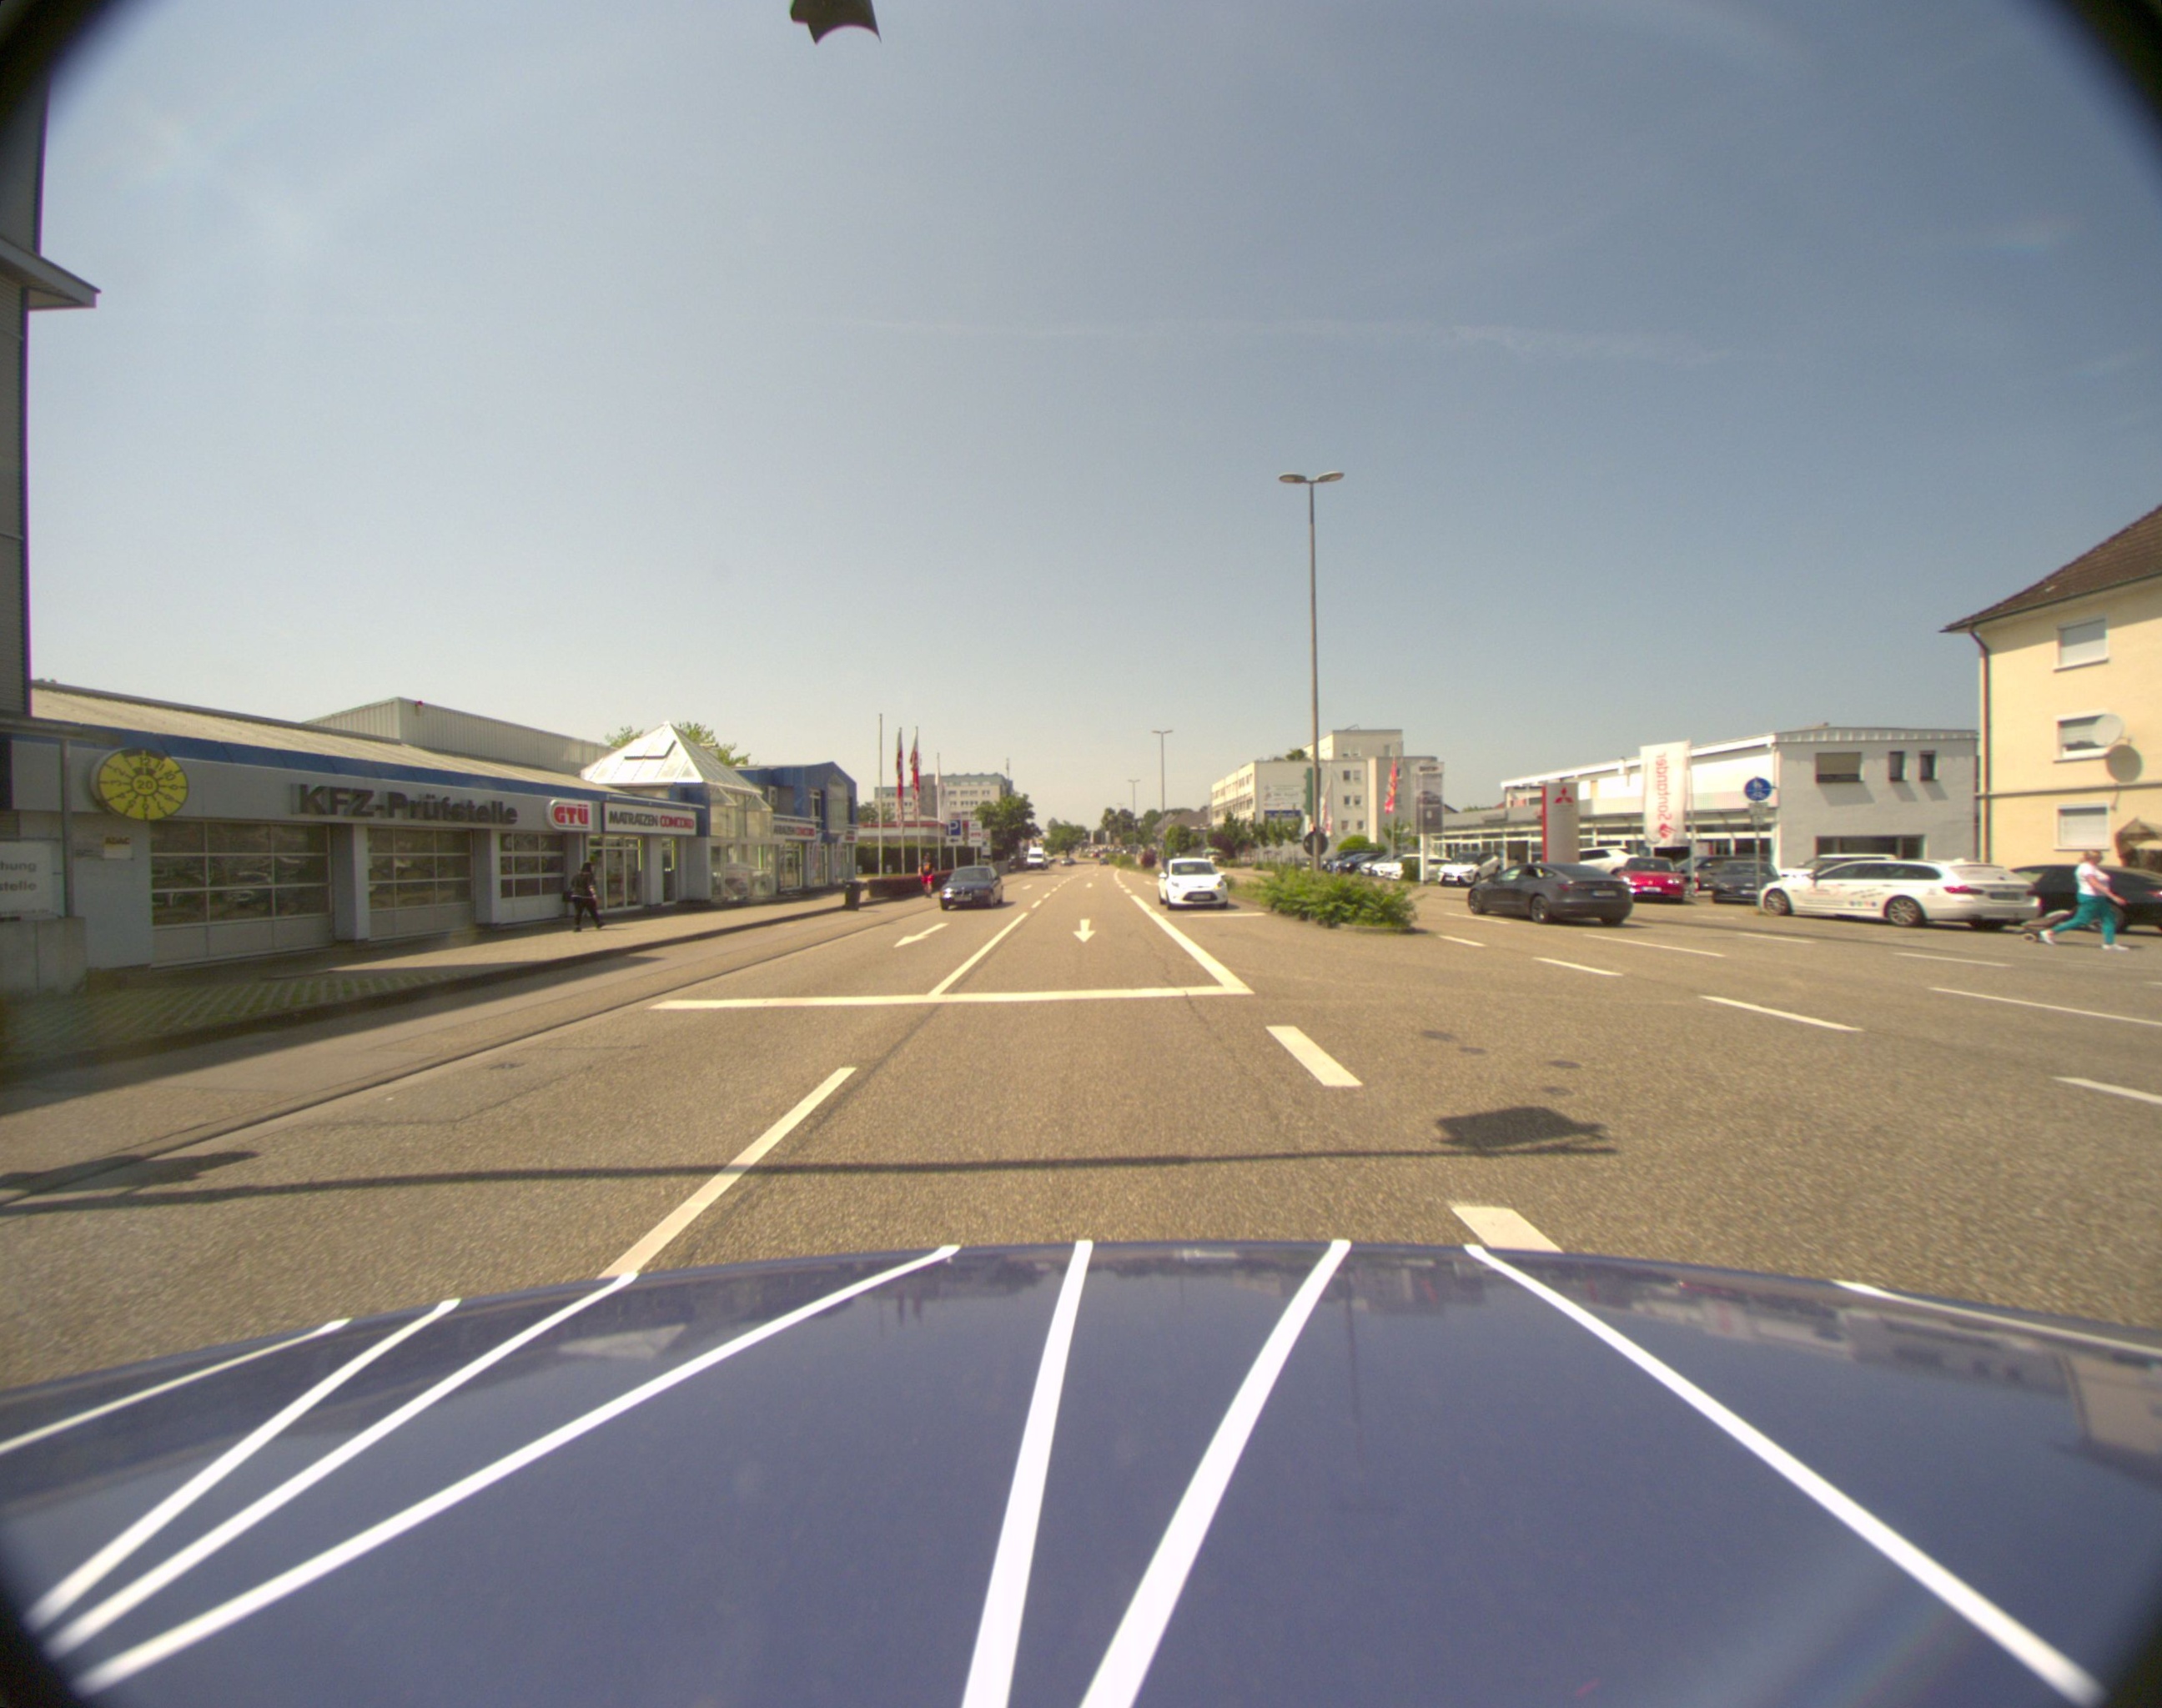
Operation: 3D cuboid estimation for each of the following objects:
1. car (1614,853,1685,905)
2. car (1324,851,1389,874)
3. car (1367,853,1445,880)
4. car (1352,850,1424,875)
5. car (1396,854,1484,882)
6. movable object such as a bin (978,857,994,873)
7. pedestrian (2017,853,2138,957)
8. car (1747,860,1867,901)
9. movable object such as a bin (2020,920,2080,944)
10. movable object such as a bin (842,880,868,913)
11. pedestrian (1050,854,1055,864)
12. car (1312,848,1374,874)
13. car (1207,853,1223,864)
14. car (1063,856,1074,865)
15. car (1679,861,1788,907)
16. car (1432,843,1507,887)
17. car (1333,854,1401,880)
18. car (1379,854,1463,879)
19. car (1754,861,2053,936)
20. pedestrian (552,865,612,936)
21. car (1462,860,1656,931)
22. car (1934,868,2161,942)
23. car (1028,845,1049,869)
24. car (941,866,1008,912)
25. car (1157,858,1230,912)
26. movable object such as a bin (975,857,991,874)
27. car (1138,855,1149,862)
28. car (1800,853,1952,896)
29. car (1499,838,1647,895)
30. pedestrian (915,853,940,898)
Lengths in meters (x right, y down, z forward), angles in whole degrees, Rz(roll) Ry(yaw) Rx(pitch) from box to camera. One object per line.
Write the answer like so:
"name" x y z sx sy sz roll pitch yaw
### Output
"car" 19.482 0.791 26.162 1.835 1.633 4.187 0 0 35
"car" 20.032 0.601 55.382 3.997 1.599 2.089 0 0 -1
"car" 19.898 0.747 46.622 3.996 1.599 1.926 -1 0 3
"car" 19.963 0.534 49.499 3.997 1.559 1.760 0 0 -1
"car" 19.625 0.747 41.633 3.997 1.458 1.760 -1 0 -1
"movable object such as a bin" -8.483 0.962 67.794 1.133 1.461 1.489 0 0 1
"pedestrian" 17.233 0.853 13.167 0.742 1.737 1.034 -1 1 3
"car" 25.009 0.870 26.345 1.647 1.244 4.006 0 0 22
"movable object such as a bin" 17.224 1.387 13.509 0.417 0.370 0.506 -1 0 2
"movable object such as a bin" -6.762 1.261 22.756 0.552 0.914 0.653 2 1 1
"pedestrian" -4.375 0.769 115.622 0.704 1.572 0.820 2 0 -2
"car" 20.008 0.528 58.135 3.997 1.871 2.000 -1 0 -1
"car" 19.287 0.640 109.484 1.695 1.440 3.665 -2 0 0
"car" -2.325 1.210 138.903 1.867 1.550 4.000 0 0 0
"car" 22.311 0.968 26.148 1.647 1.418 4.006 0 0 22
"car" 19.780 0.503 38.598 4.004 1.616 1.755 -10 6 -37
"car" 19.725 0.853 52.513 3.997 1.599 1.760 2 0 -1
"car" 19.538 0.711 43.714 3.997 1.386 1.860 -1 0 -1
"car" 18.375 0.892 17.415 1.780 1.402 4.759 1 0 2
"pedestrian" -11.784 1.074 17.963 0.812 1.617 0.853 -1 0 4
"car" 11.460 0.928 18.691 1.998 1.477 4.501 0 0 1
"car" 21.593 1.016 16.446 1.737 1.343 3.999 0 0 -2
"car" -5.249 0.339 95.031 2.183 2.757 7.277 1 0 0
"car" -3.510 1.118 25.568 1.632 1.331 3.757 -2 0 1
"car" 3.258 0.854 22.628 1.693 1.426 3.711 -1 0 1
"movable object such as a bin" -8.514 0.975 66.188 1.133 1.461 1.489 0 0 1
"car" 12.979 0.869 158.165 1.832 1.452 4.712 0 0 0
"car" 30.974 0.778 29.697 3.997 1.606 1.865 0 0 0
"car" 19.575 0.482 30.369 4.557 1.699 1.760 -7 0 3
"pedestrian" -6.302 0.883 31.264 0.787 1.836 0.936 -1 1 3
